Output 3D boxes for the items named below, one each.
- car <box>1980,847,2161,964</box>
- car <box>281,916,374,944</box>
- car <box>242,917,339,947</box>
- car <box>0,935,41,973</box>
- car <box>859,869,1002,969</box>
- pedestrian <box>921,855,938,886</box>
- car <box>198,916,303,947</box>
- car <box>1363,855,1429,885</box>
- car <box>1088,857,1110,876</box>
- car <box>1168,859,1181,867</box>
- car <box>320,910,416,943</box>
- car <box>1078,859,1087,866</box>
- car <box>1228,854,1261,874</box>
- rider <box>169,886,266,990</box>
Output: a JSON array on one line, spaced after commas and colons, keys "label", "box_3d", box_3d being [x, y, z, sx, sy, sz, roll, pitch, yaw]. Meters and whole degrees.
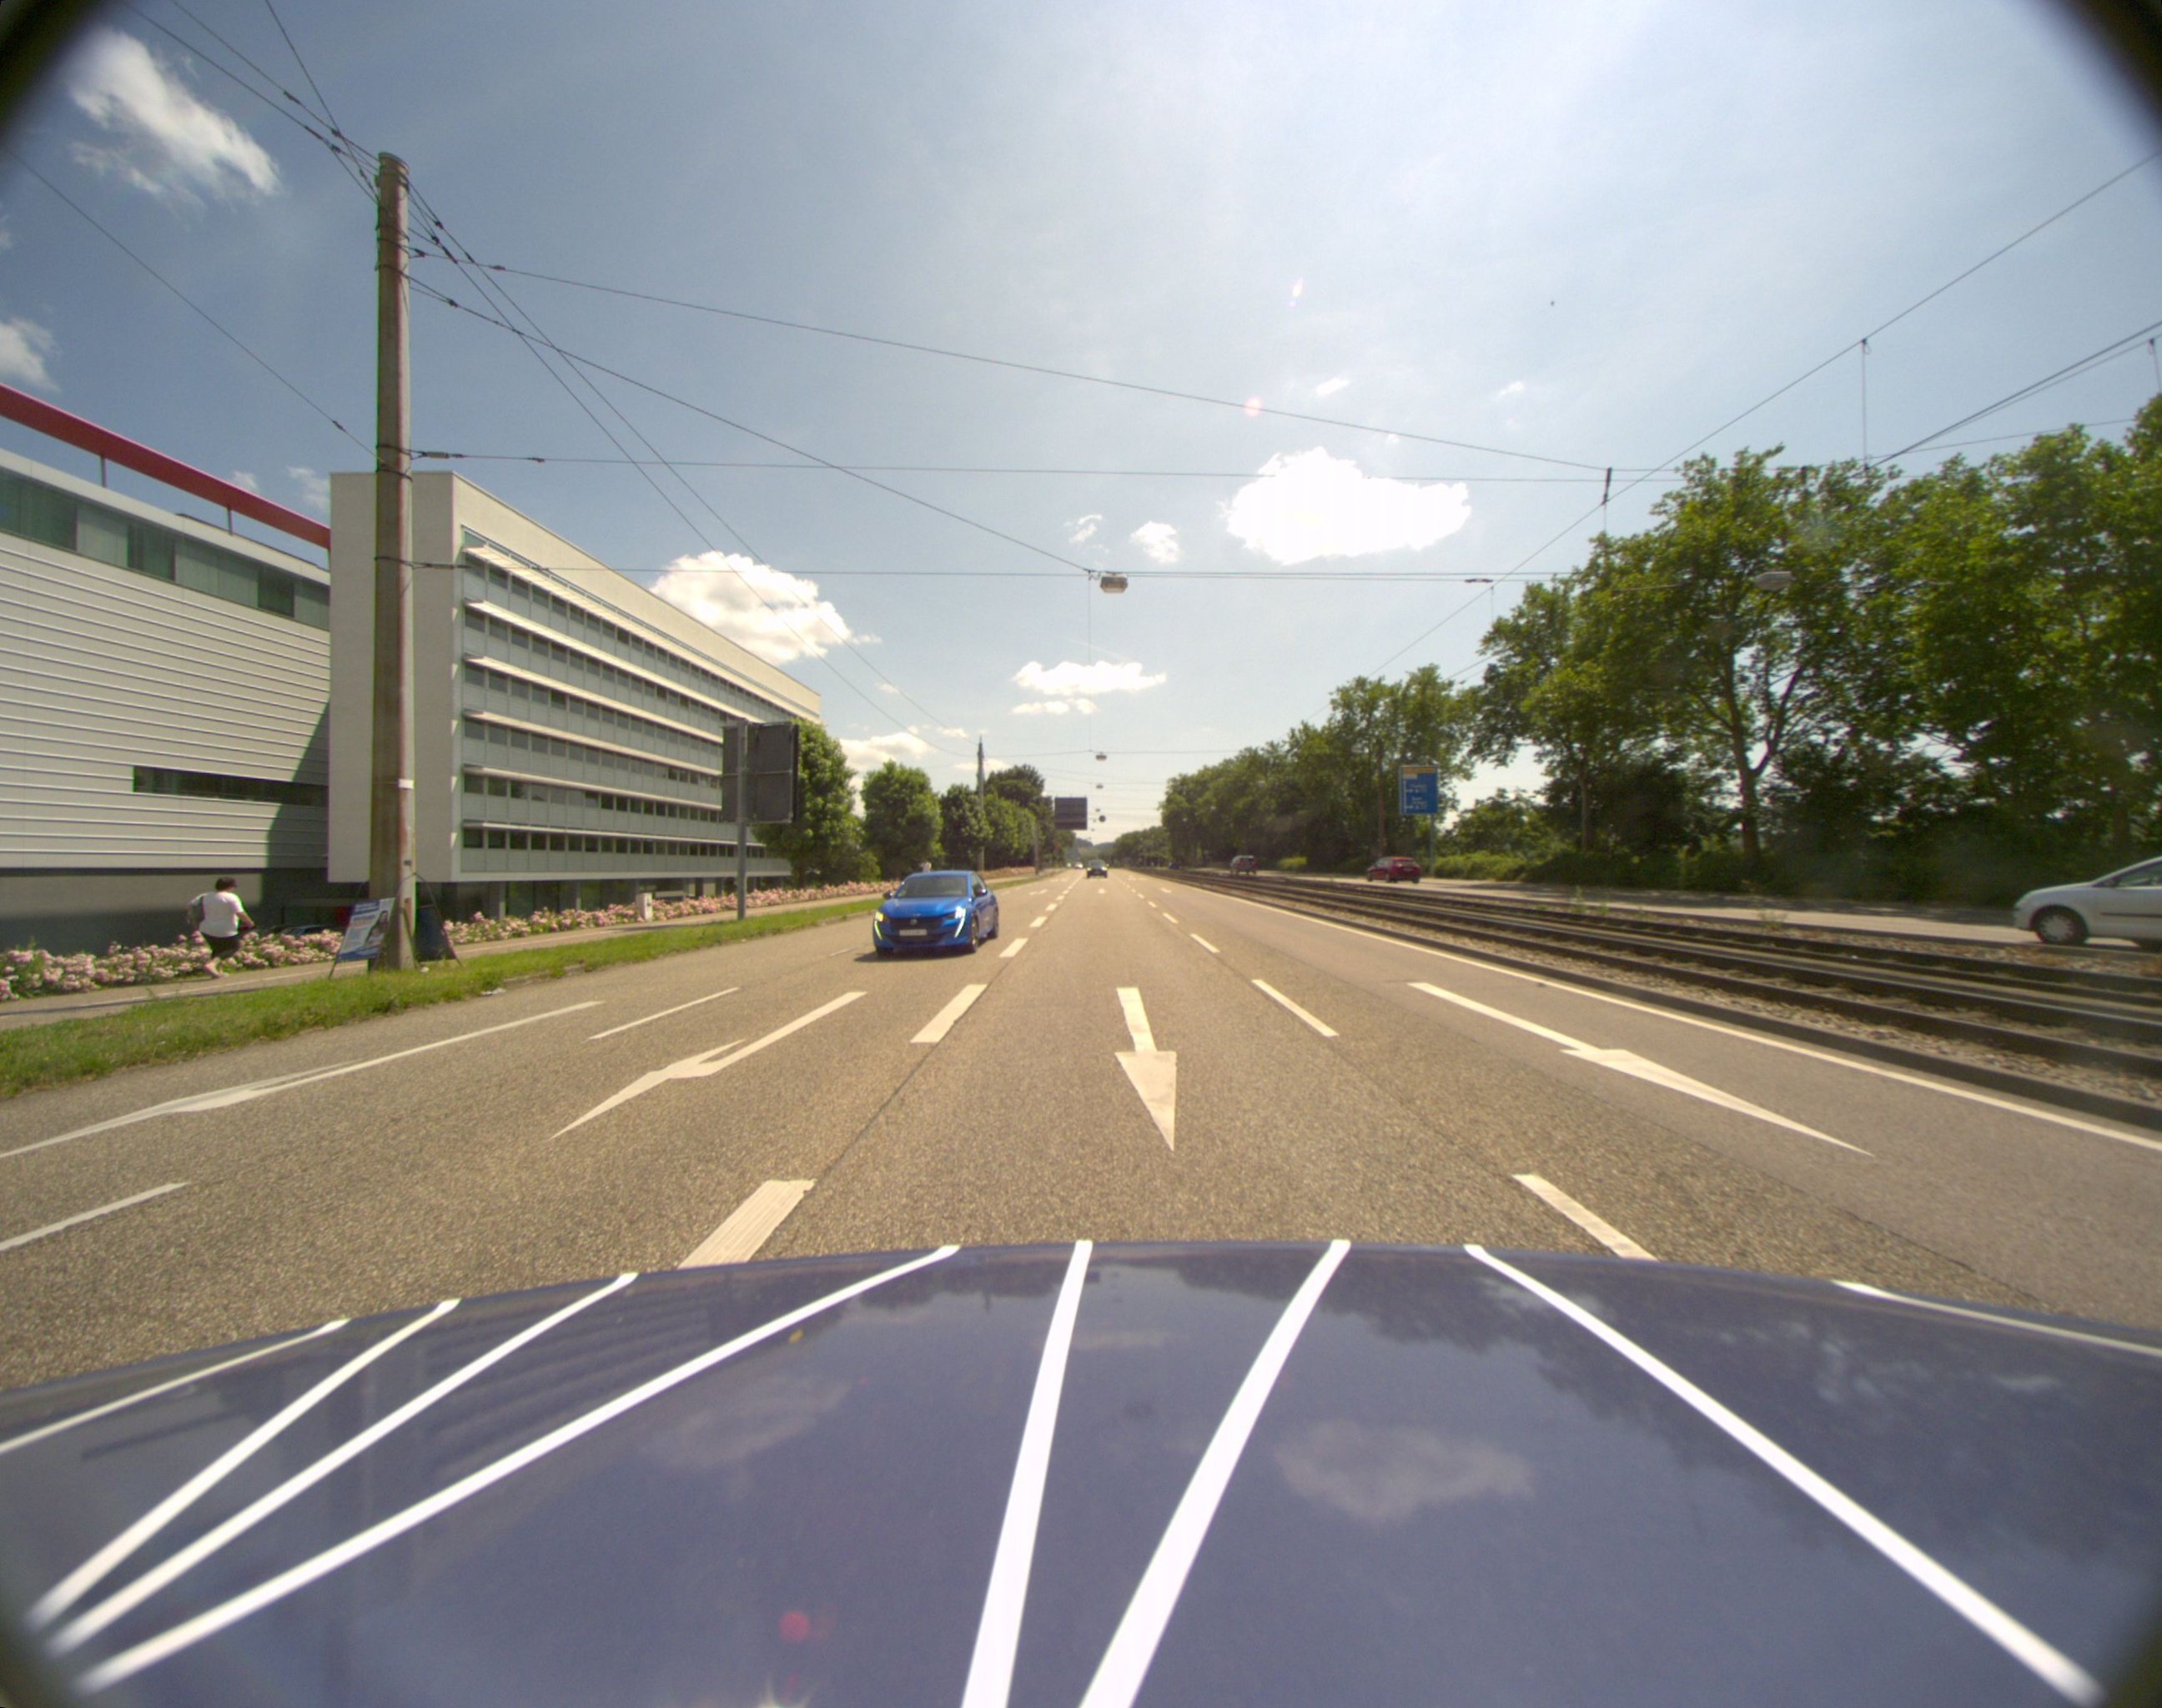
[{"label": "car", "box_3d": [15.458, 0.719, 10.291, 1.690, 1.574, 4.058, 2, 0, -1]}, {"label": "car", "box_3d": [-45.835, 4.599, 46.357, 1.609, 1.314, 4.000, -2, 0, 1]}, {"label": "car", "box_3d": [-48.033, 4.719, 46.273, 1.648, 1.377, 4.000, -2, 0, 1]}, {"label": "car", "box_3d": [-51.155, 4.747, 34.622, 1.998, 1.602, 4.000, -2, 0, 1]}, {"label": "car", "box_3d": [-2.621, 1.085, 14.204, 1.842, 1.446, 3.999, -2, 0, 0]}, {"label": "pedestrian", "box_3d": [-9.052, 0.993, 45.476, 0.758, 1.838, 0.931, -2, 0, 3]}, {"label": "car", "box_3d": [-50.733, 4.702, 46.543, 1.998, 1.438, 4.000, -2, 0, 1]}, {"label": "car", "box_3d": [18.515, 0.898, 44.856, 1.999, 1.660, 4.468, 1, 0, -1]}, {"label": "car", "box_3d": [1.577, 1.078, 67.338, 1.898, 1.564, 4.511, -1, 0, 1]}, {"label": "car", "box_3d": [18.837, 1.841, 153.293, 1.803, 1.495, 4.735, 1, 0, -1]}, {"label": "car", "box_3d": [-43.326, 4.385, 46.325, 1.998, 1.602, 4.000, -2, 0, 1]}, {"label": "car", "box_3d": [0.385, 1.936, 173.930, 1.896, 1.331, 4.000, -2, 0, 1]}, {"label": "car", "box_3d": [15.563, 0.910, 72.593, 1.999, 1.820, 4.969, 1, 0, -1]}, {"label": "rider", "box_3d": [-12.811, 1.228, 11.288, 0.671, 1.449, 0.618, -2, 1, 1]}]
